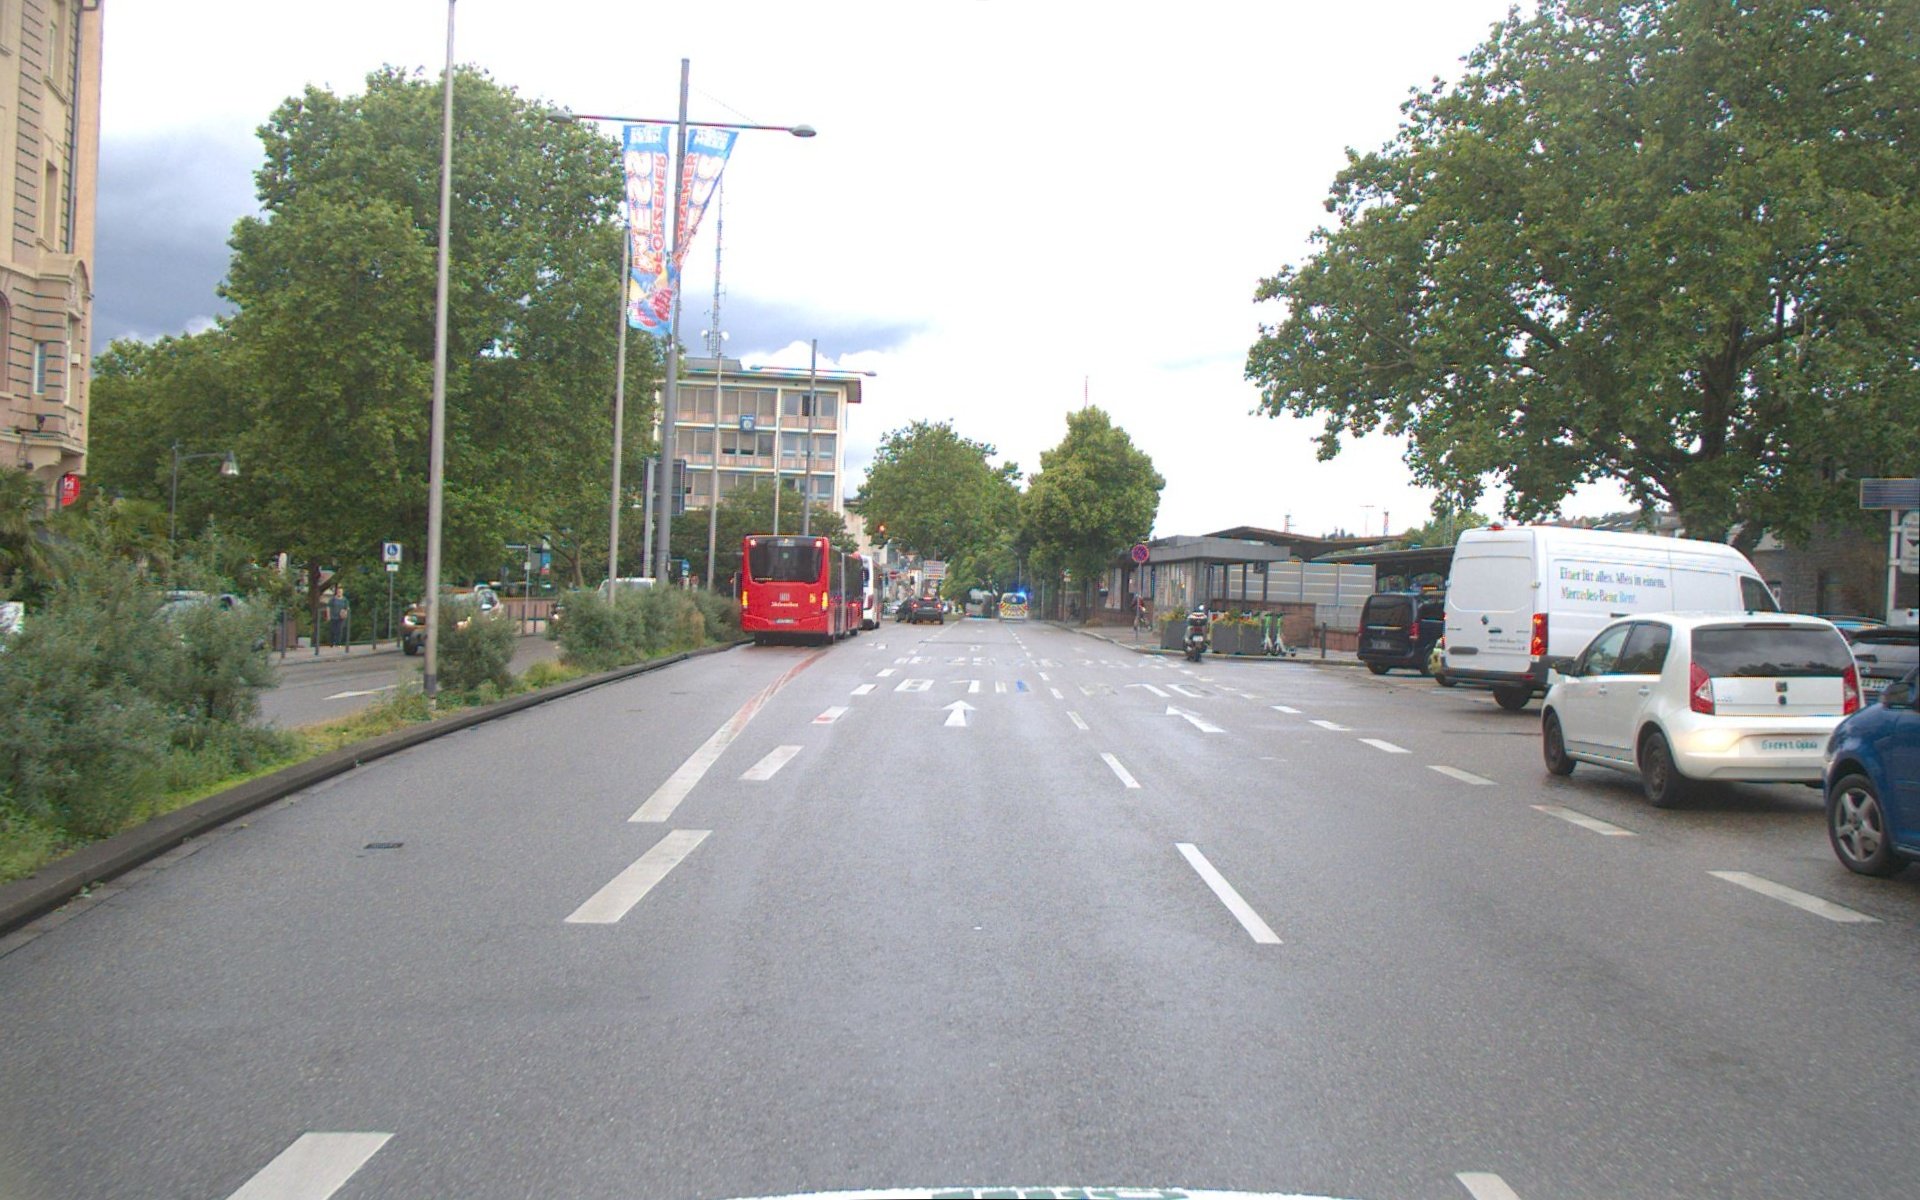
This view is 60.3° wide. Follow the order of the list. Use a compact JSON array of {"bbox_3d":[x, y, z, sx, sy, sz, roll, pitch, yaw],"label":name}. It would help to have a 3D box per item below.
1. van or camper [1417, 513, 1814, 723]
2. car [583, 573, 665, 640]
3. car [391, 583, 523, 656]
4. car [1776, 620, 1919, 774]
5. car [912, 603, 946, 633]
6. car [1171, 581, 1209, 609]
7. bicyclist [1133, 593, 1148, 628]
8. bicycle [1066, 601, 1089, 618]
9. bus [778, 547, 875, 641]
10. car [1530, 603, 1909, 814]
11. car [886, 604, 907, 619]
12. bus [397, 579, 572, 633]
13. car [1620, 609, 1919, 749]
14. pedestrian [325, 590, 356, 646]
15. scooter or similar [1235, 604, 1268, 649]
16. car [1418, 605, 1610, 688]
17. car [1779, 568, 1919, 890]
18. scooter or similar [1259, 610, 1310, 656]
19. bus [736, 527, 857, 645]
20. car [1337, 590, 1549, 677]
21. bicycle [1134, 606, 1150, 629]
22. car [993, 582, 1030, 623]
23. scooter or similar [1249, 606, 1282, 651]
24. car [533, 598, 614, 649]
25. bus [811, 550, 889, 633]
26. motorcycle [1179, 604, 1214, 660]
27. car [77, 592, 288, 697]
[{"bbox_3d":[10.216,0.267,25.578,6.440,2.920,2.257,1,0,-30],"label":"van or camper"},{"bbox_3d":[-10.602,0.197,52.492,1.883,2.008,4.852,1,0,-4],"label":"car"},{"bbox_3d":[-12.463,0.455,41.229,1.952,1.710,4.102,1,0,1],"label":"car"},{"bbox_3d":[10.354,0.939,17.049,3.637,1.424,1.762,1,0,-29],"label":"car"},{"bbox_3d":[-1.781,1.018,95.720,1.924,1.668,4.357,1,0,-1],"label":"car"},{"bbox_3d":[16.175,-0.318,116.298,1.953,1.904,4.597,1,0,-1],"label":"car"},{"bbox_3d":[8.002,0.459,73.308,0.523,1.565,0.694,-1,0,-2],"label":"bicyclist"},{"bbox_3d":[8.675,0.708,122.009,1.689,1.271,0.485,-1,-1,32],"label":"bicycle"},{"bbox_3d":[-4.794,-0.215,61.004,2.695,3.187,8.844,1,0,1],"label":"bus"},{"bbox_3d":[6.162,0.792,13.869,1.622,1.500,3.589,1,0,2],"label":"car"},{"bbox_3d":[-6.348,1.160,165.919,1.656,1.320,4.094,2,-1,3],"label":"car"},{"bbox_3d":[-31.446,0.437,109.194,11.689,3.072,2.889,-2,-1,22],"label":"bus"},{"bbox_3d":[10.195,0.883,19.860,4.407,1.497,1.901,1,0,-29],"label":"car"},{"bbox_3d":[-17.242,0.490,46.034,0.677,1.556,0.725,0,0,-12],"label":"pedestrian"},{"bbox_3d":[8.003,0.736,45.429,0.405,1.175,1.260,3,0,31],"label":"scooter or similar"},{"bbox_3d":[11.106,0.906,33.150,3.539,1.551,1.746,1,0,-29],"label":"car"},{"bbox_3d":[5.975,0.697,8.218,1.781,1.712,4.418,1,0,3],"label":"car"},{"bbox_3d":[8.935,0.898,45.586,1.043,1.175,1.667,3,0,1],"label":"scooter or similar"},{"bbox_3d":[-4.916,-0.411,51.698,2.752,3.302,9.913,1,0,0],"label":"bus"},{"bbox_3d":[11.200,0.749,38.275,4.633,1.907,2.089,1,0,-29],"label":"car"},{"bbox_3d":[8.059,0.767,73.318,0.437,1.034,1.677,-1,0,-2],"label":"bicycle"},{"bbox_3d":[3.431,0.161,110.060,2.218,2.703,3.999,1,0,-1],"label":"car"},{"bbox_3d":[8.352,0.786,45.164,0.405,1.175,1.260,3,0,31],"label":"scooter or similar"},{"bbox_3d":[-12.697,0.749,54.610,1.755,1.606,4.737,0,0,-3],"label":"car"},{"bbox_3d":[-4.998,-0.375,77.097,2.895,3.499,12.557,1,0,-1],"label":"bus"},{"bbox_3d":[6.074,0.799,42.563,0.630,1.376,2.109,1,0,1],"label":"motorcycle"},{"bbox_3d":[-11.663,0.614,25.070,1.596,1.457,3.758,1,0,-4],"label":"car"}]
